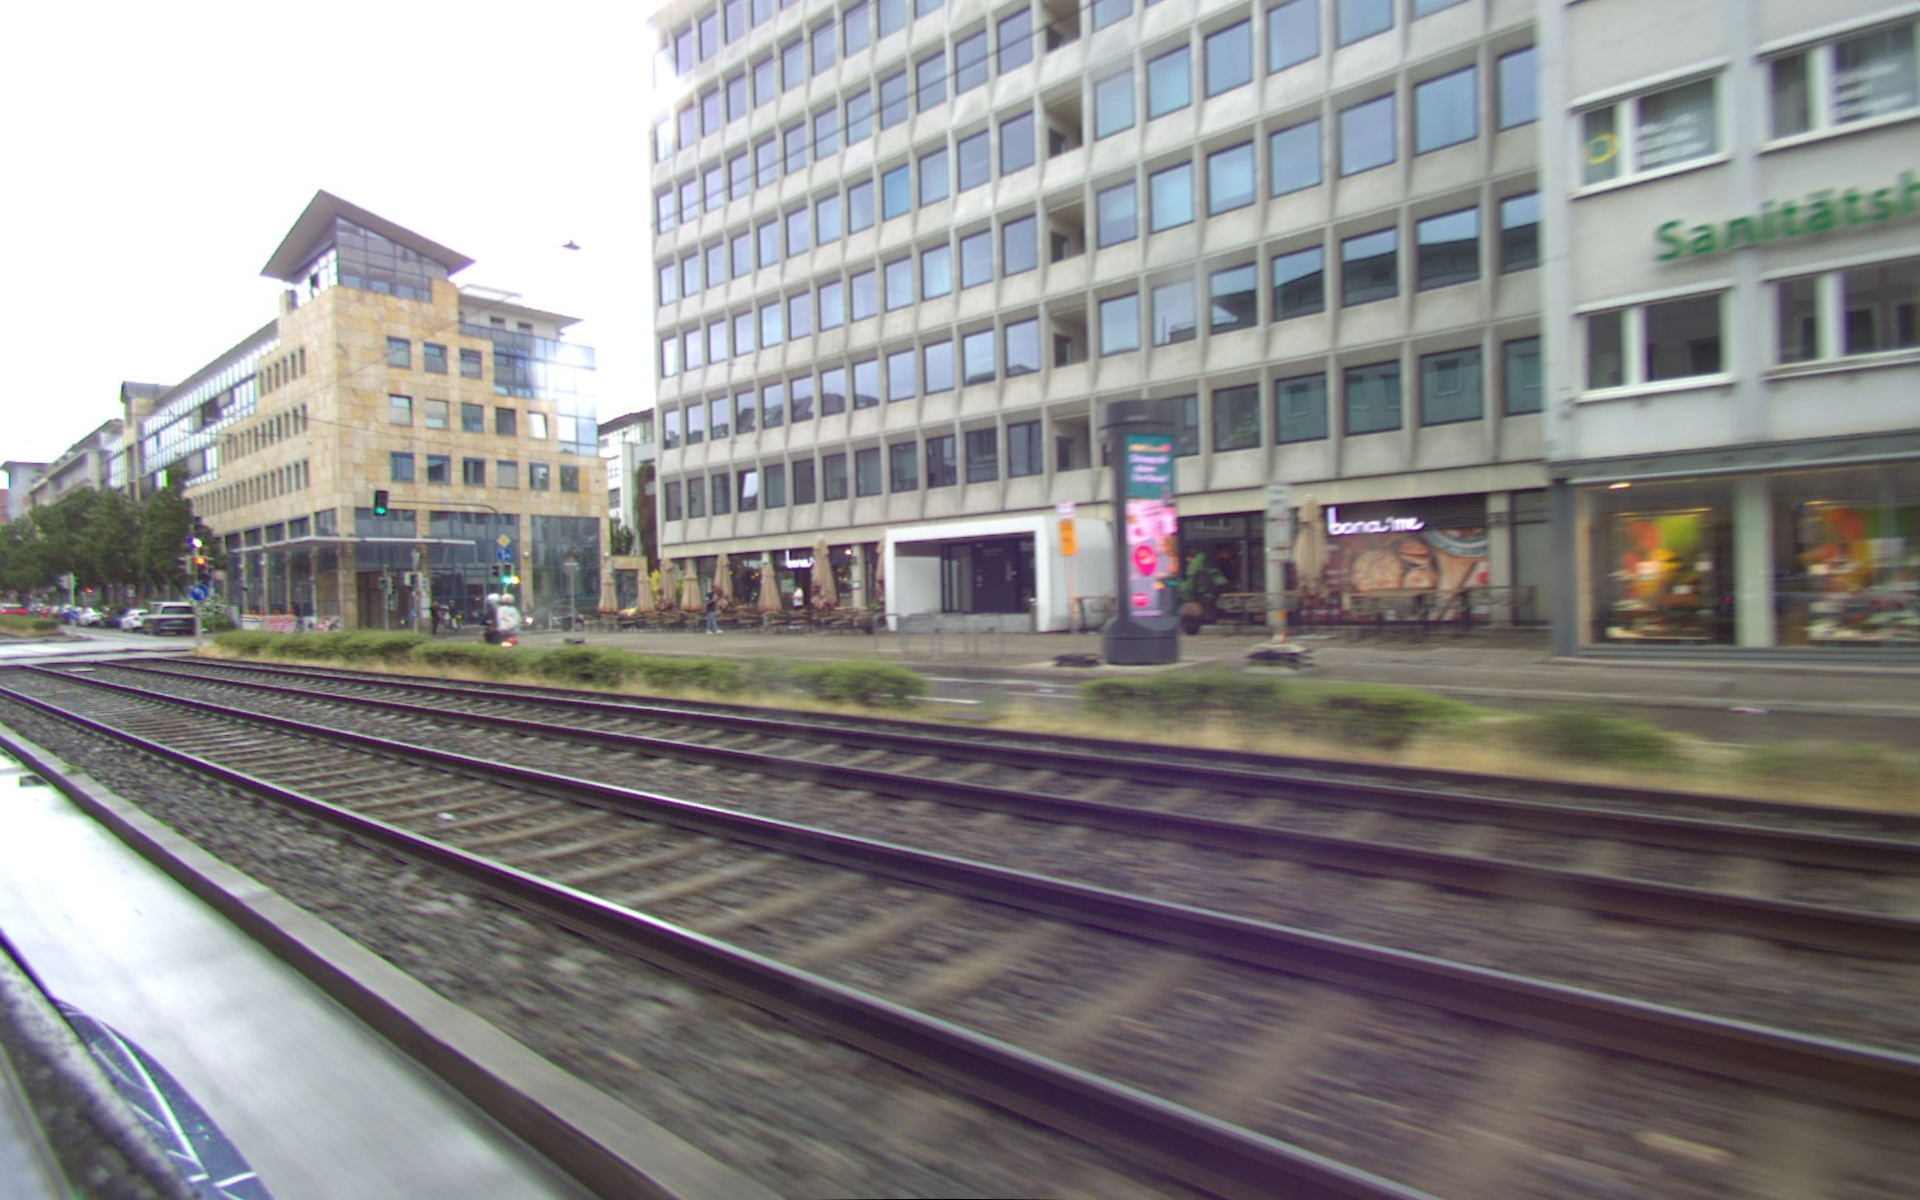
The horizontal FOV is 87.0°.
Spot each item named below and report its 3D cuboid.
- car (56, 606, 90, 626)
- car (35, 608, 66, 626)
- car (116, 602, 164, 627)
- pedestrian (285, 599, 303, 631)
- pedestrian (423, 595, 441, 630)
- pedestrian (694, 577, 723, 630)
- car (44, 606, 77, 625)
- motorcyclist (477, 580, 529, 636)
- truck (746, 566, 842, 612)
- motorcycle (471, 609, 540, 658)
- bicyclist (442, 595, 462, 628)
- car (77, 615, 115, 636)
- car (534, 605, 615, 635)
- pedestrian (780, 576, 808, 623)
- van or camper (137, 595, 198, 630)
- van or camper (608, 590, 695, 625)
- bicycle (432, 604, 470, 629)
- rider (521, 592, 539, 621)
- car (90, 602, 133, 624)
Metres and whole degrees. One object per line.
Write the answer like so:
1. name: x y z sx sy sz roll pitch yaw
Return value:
1. car: -73.234 1.309 83.511 4.291 1.613 1.632 0 0 42
2. car: -82.558 1.534 91.877 4.620 1.552 1.632 0 0 42
3. car: -53.687 0.952 66.224 4.252 1.497 1.672 -1 0 40
4. pedestrian: -39.167 0.887 59.522 0.679 1.828 0.693 -2 0 44
5. pedestrian: -27.703 0.663 53.082 0.667 1.794 0.705 -2 0 -14
6. pedestrian: -8.884 0.113 35.749 0.843 1.836 0.559 -1 0 37
7. car: -78.329 1.335 88.140 4.620 1.552 1.632 0 0 42
8. motorcyclist: -10.423 0.174 23.092 0.970 1.226 0.733 -1 1 43
9. truck: -12.090 -0.815 74.242 2.459 3.187 7.078 -1 0 39
10. motorcycle: -10.366 0.740 23.058 1.931 1.067 0.734 -1 1 43
11. bicyclist: -28.617 0.667 57.010 0.783 1.818 0.701 -2 0 41
12. car: -65.181 1.881 76.321 4.191 1.509 1.632 0 0 42
13. car: -22.239 1.130 58.455 1.890 1.541 3.945 -1 0 42
14. pedestrian: -6.263 -0.029 38.222 0.843 1.761 0.559 -1 0 37
15. van or camper: -47.919 0.712 61.136 5.196 2.012 1.996 1 2 42
16. van or camper: -19.903 0.445 65.387 2.095 2.077 5.031 -1 0 40
17. bicycle: -28.654 0.937 56.964 0.659 1.320 1.746 -2 0 40
18. rider: -25.862 0.400 60.864 0.783 1.688 0.701 -2 0 41
19. car: -61.442 0.956 73.279 3.997 1.497 1.672 -1 0 40
